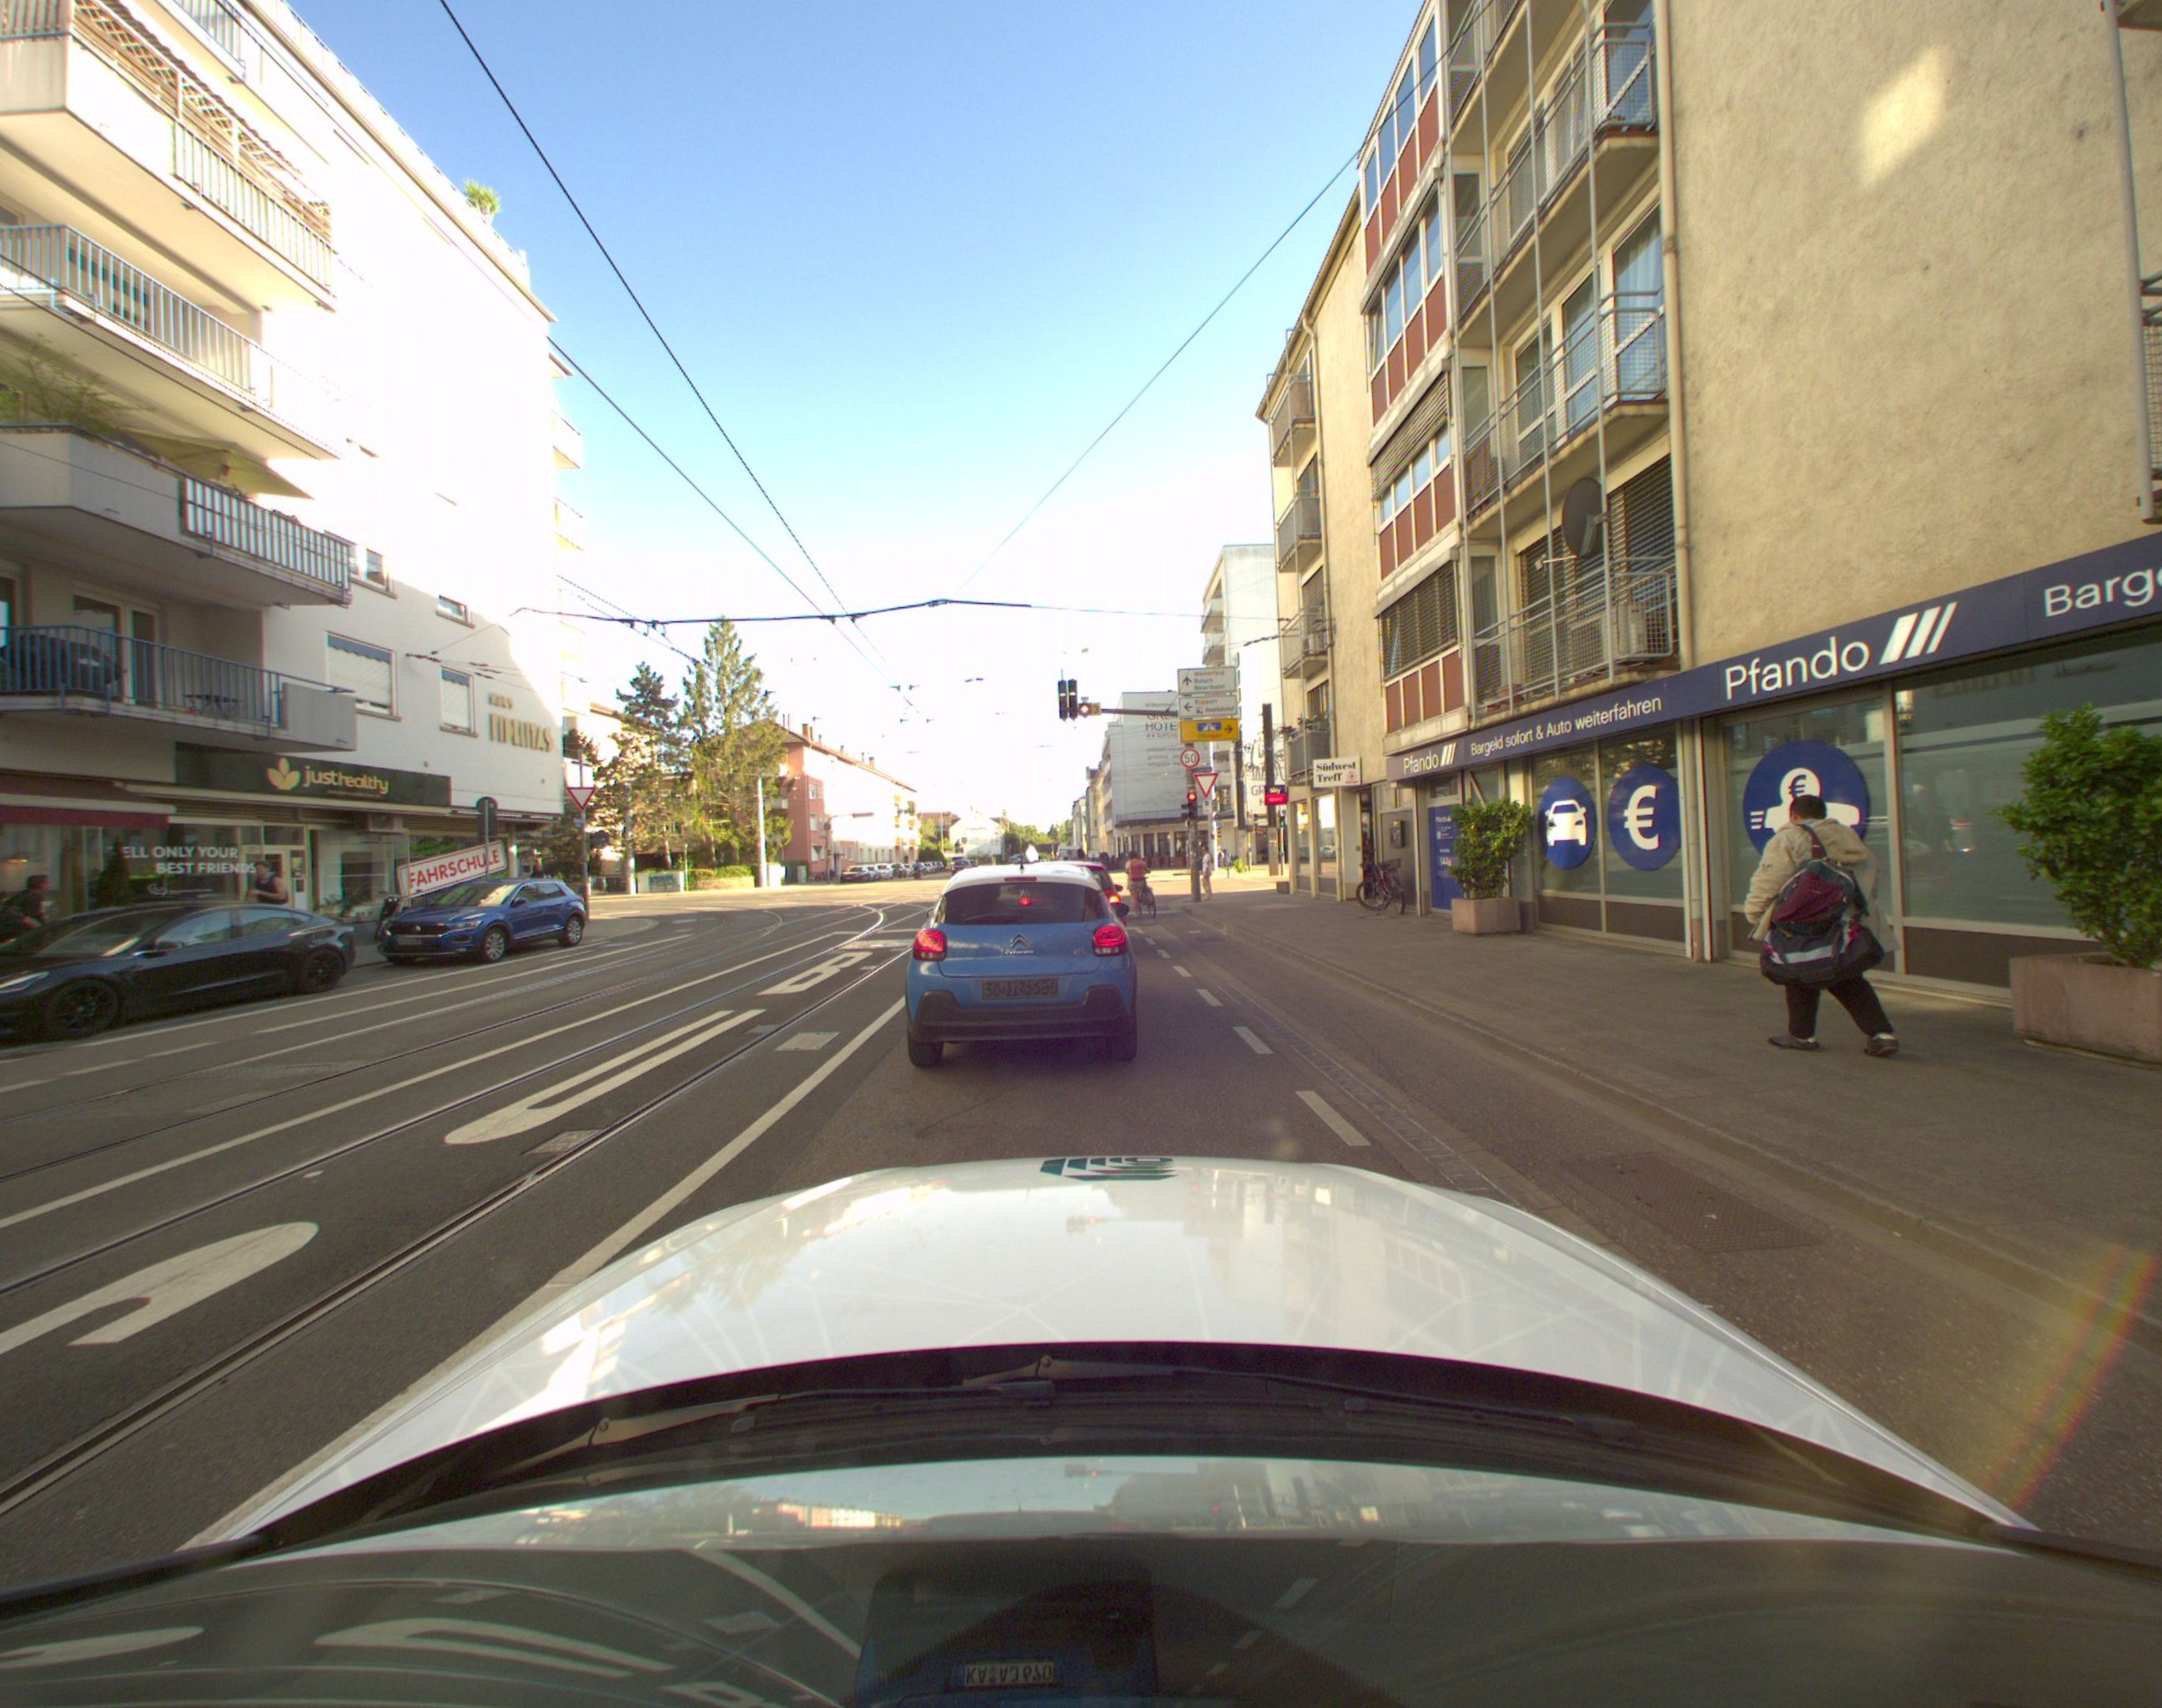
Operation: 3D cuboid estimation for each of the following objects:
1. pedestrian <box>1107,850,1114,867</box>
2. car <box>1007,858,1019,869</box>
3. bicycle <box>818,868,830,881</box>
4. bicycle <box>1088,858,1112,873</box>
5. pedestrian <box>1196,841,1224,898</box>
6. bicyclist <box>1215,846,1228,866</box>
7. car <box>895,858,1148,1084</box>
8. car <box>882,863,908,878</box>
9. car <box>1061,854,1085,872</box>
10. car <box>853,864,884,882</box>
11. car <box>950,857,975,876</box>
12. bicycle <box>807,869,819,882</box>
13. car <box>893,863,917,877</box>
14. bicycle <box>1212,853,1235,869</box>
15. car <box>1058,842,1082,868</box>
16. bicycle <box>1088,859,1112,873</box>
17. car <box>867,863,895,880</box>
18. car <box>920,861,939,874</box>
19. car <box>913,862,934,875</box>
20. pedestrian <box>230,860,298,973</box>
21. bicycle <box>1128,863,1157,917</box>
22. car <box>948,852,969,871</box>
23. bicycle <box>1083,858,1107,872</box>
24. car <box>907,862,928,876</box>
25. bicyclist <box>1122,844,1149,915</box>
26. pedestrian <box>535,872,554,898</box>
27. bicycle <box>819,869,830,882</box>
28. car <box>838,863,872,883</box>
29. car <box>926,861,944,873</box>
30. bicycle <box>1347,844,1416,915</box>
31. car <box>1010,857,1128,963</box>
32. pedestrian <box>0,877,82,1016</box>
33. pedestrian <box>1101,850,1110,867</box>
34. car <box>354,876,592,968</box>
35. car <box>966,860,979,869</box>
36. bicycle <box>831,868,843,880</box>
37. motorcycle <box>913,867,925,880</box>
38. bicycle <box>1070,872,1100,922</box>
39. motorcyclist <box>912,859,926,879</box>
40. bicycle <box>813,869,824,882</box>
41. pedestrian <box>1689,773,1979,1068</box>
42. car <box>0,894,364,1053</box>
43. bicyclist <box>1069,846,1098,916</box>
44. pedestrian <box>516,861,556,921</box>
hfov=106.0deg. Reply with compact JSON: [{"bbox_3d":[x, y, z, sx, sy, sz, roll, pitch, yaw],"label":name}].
[{"bbox_3d":[2.531,0.374,70.103,0.467,1.420,0.524,-2,0,-11],"label":"pedestrian"},{"bbox_3d":[-14.256,1.973,171.396,2.333,2.039,5.044,-2,0,-4],"label":"car"},{"bbox_3d":[-23.042,1.842,73.092,0.536,1.082,1.908,-2,0,-4],"label":"bicycle"},{"bbox_3d":[1.523,0.926,65.920,1.901,1.064,0.641,-2,0,-6],"label":"bicycle"},{"bbox_3d":[3.836,0.450,24.335,0.747,1.635,0.742,-2,0,7],"label":"pedestrian"},{"bbox_3d":[10.278,0.138,59.412,0.720,1.434,0.609,-3,0,29],"label":"bicyclist"},{"bbox_3d":[-0.447,0.789,7.484,1.675,1.462,3.997,-1,0,-2],"label":"car"},{"bbox_3d":[-19.722,1.738,86.514,1.947,1.519,3.995,-2,0,-4],"label":"car"},{"bbox_3d":[-0.709,0.738,67.971,1.783,1.359,3.909,-2,0,-4],"label":"car"},{"bbox_3d":[-19.563,1.717,75.229,1.947,1.519,4.040,-2,0,-4],"label":"car"},{"bbox_3d":[-11.284,1.159,77.784,2.002,1.627,5.044,-2,0,-5],"label":"car"},{"bbox_3d":[-22.373,1.794,68.063,0.640,1.082,1.905,-2,0,-9],"label":"bicycle"},{"bbox_3d":[-19.973,1.789,92.582,1.947,1.519,3.995,-2,0,-4],"label":"car"},{"bbox_3d":[10.366,0.505,59.381,1.474,1.091,0.609,-3,0,29],"label":"bicycle"},{"bbox_3d":[-1.031,0.082,73.432,2.074,2.269,5.647,-1,0,-2],"label":"car"},{"bbox_3d":[1.532,0.956,67.227,1.901,1.064,0.641,-2,0,-6],"label":"bicycle"},{"bbox_3d":[-19.552,1.683,79.841,1.947,1.519,3.995,-2,0,-4],"label":"car"},{"bbox_3d":[-20.290,1.771,109.313,1.947,1.519,3.995,-2,0,-4],"label":"car"},{"bbox_3d":[-20.089,1.798,104.024,1.947,1.519,3.995,-2,0,-4],"label":"car"},{"bbox_3d":[-14.064,1.055,14.024,0.744,1.857,0.676,-3,0,37],"label":"pedestrian"},{"bbox_3d":[1.539,0.884,20.712,0.611,1.264,1.911,-2,0,2],"label":"bicycle"},{"bbox_3d":[-18.118,1.100,120.561,2.489,2.712,5.828,-2,0,-5],"label":"car"},{"bbox_3d":[1.167,0.948,68.429,1.901,1.064,0.641,-2,0,-6],"label":"bicycle"},{"bbox_3d":[-19.843,1.783,99.011,1.947,1.519,3.995,-2,0,-4],"label":"car"},{"bbox_3d":[1.375,0.630,20.678,0.598,1.746,1.084,-2,0,2],"label":"bicyclist"},{"bbox_3d":[-36.728,2.114,55.777,0.805,1.702,0.681,-2,0,1],"label":"pedestrian"},{"bbox_3d":[-21.588,1.794,68.458,0.537,1.082,1.905,-2,0,-9],"label":"bicycle"},{"bbox_3d":[-19.283,1.600,69.605,1.947,1.519,3.995,-2,0,-4],"label":"car"},{"bbox_3d":[-20.717,1.850,115.669,1.947,1.519,3.995,-2,0,-4],"label":"car"},{"bbox_3d":[5.764,0.453,15.724,0.637,1.264,1.911,-2,0,2],"label":"bicycle"},{"bbox_3d":[-0.221,0.808,13.693,1.675,1.462,3.997,-1,0,-2],"label":"car"},{"bbox_3d":[-13.696,1.169,10.521,0.601,1.708,0.730,-2,0,-1],"label":"pedestrian"},{"bbox_3d":[2.111,0.391,70.364,0.520,1.420,0.550,-3,0,22],"label":"pedestrian"},{"bbox_3d":[-11.873,1.244,16.311,1.720,1.505,4.113,0,0,-2],"label":"car"},{"bbox_3d":[-19.328,1.813,145.230,1.947,1.519,3.995,-2,0,-4],"label":"car"},{"bbox_3d":[-22.709,1.860,75.788,0.608,1.082,1.908,-2,0,-4],"label":"bicycle"},{"bbox_3d":[-13.476,1.595,67.746,0.751,0.976,2.092,-2,0,-7],"label":"motorcycle"},{"bbox_3d":[0.083,1.020,19.851,0.615,1.103,1.884,-2,0,-2],"label":"bicycle"},{"bbox_3d":[-13.467,1.268,67.679,0.990,1.631,0.737,-2,0,-7],"label":"motorcyclist"},{"bbox_3d":[-21.967,1.794,68.173,0.537,1.082,1.905,-2,0,-9],"label":"bicycle"},{"bbox_3d":[4.501,0.362,4.948,0.871,1.571,0.868,-4,0,-1],"label":"pedestrian"},{"bbox_3d":[-11.978,1.331,10.408,1.720,1.403,4.486,0,0,-2],"label":"car"},{"bbox_3d":[0.053,0.644,19.749,0.615,1.629,0.759,-2,0,-2],"label":"bicyclist"},{"bbox_3d":[-17.320,1.173,25.881,0.761,1.834,0.725,-3,0,28],"label":"pedestrian"}]
